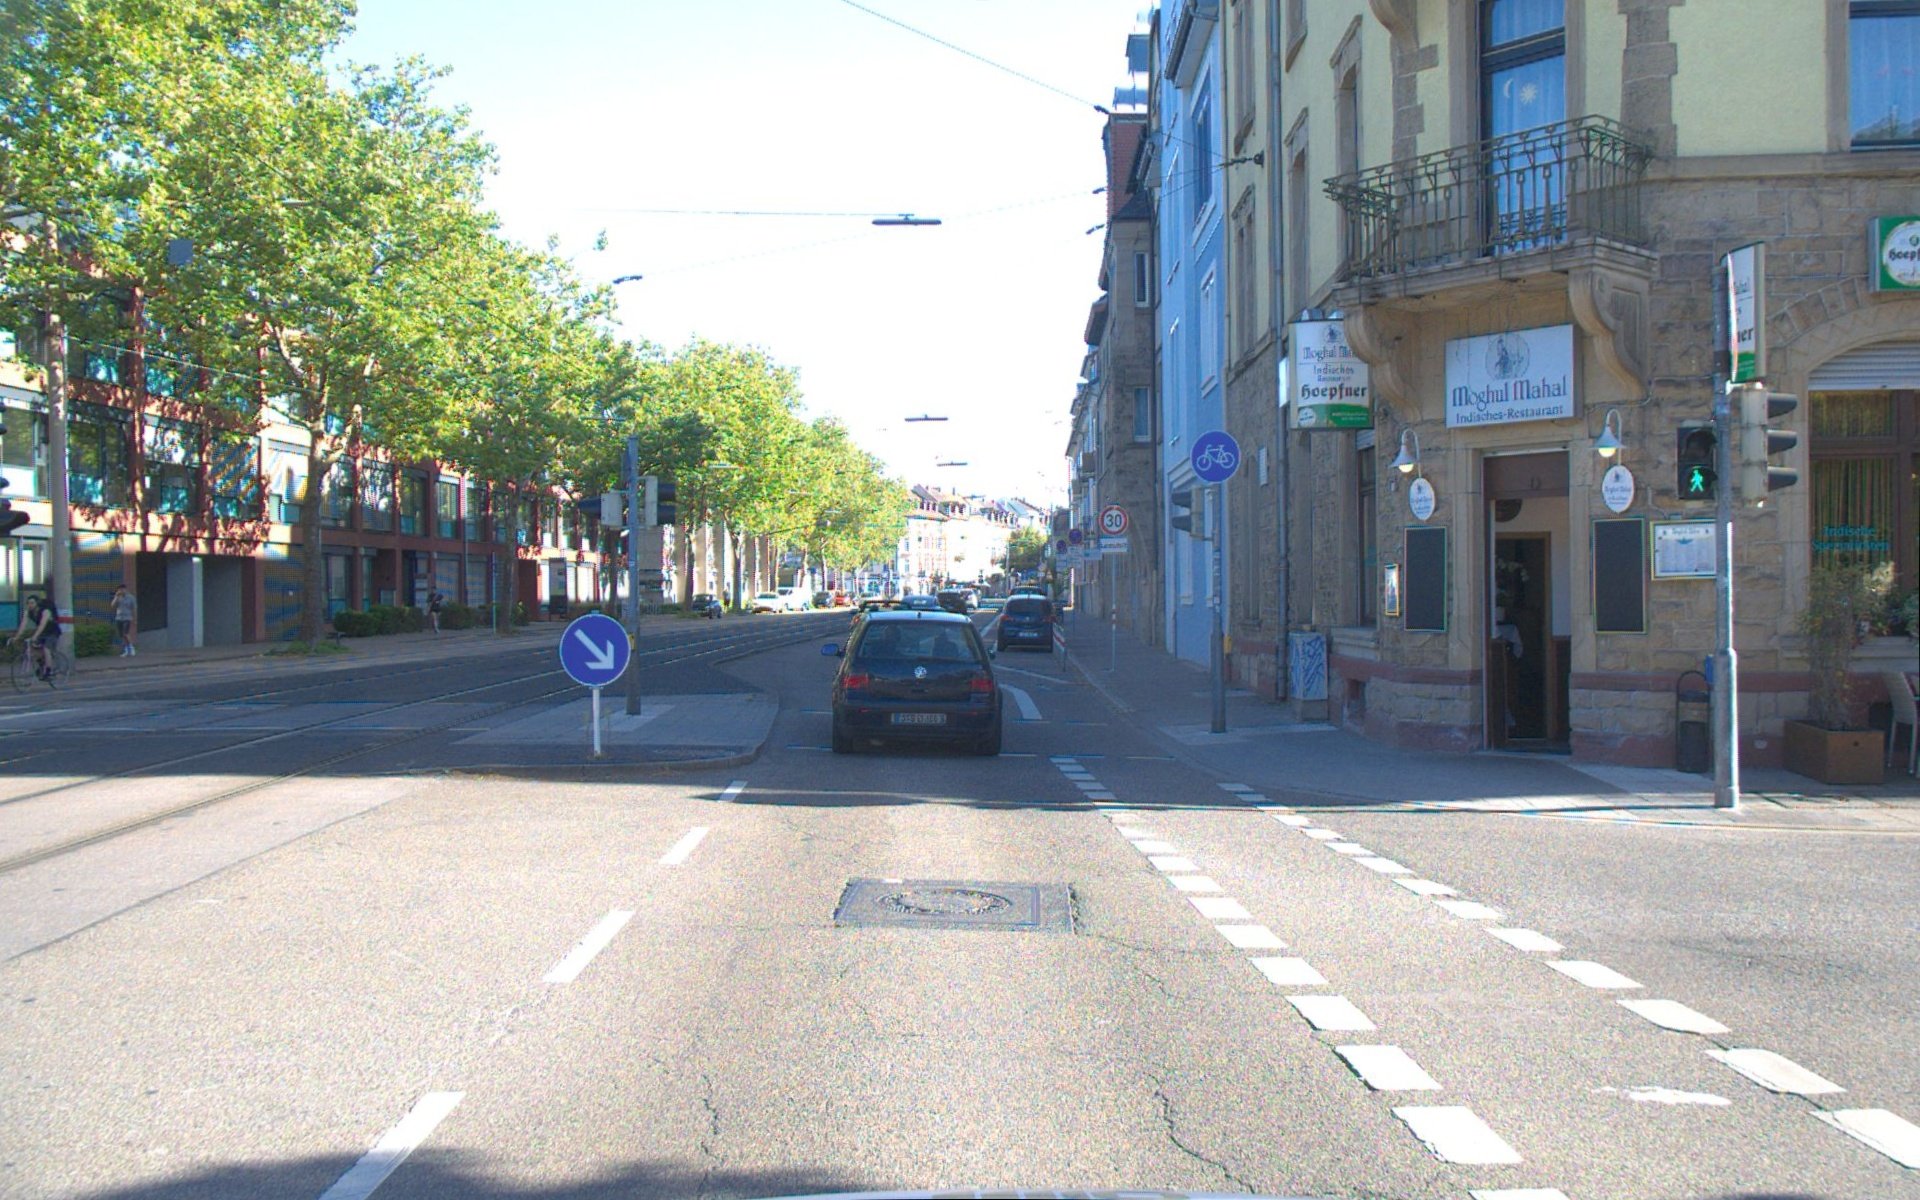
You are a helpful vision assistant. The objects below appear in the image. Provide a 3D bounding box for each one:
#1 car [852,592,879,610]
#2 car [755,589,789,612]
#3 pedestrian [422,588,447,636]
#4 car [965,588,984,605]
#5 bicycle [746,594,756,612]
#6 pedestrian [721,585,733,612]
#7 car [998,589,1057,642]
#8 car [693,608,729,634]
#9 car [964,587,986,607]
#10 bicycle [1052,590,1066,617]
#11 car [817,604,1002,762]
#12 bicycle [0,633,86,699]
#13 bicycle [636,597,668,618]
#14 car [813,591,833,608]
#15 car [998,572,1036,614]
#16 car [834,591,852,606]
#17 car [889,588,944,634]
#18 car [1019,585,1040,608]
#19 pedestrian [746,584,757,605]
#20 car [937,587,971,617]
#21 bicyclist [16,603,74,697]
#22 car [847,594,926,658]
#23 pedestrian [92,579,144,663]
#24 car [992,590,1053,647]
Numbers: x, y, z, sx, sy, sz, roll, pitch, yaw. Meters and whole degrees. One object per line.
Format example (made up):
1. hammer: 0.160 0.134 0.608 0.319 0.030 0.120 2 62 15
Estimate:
1. car: -8.884 0.077 155.608 1.715 1.544 4.074 -3 0 7
2. car: -14.148 0.023 124.595 1.970 1.600 4.694 1 1 1
3. pedestrian: -19.723 0.445 62.076 0.612 1.748 0.901 1 1 1
4. car: 1.296 -0.296 147.080 1.602 1.498 3.730 -1 0 2
5. bicycle: -15.048 0.218 119.032 0.569 1.230 1.653 1 1 -4
6. pedestrian: -16.456 -0.093 116.683 0.771 1.902 0.669 1 1 -13
7. car: 2.138 0.453 51.360 1.716 1.527 4.198 1 0 3
8. car: -15.094 1.272 100.247 1.476 1.479 3.464 -1 -2 3
9. car: 1.198 -0.255 131.324 1.602 1.498 3.730 -1 0 2
10. bicycle: 4.460 0.166 74.336 0.504 1.159 2.259 -2 1 2
11. car: -0.445 0.780 17.471 1.712 1.399 4.001 -1 1 1
12. bicycle: -16.418 1.165 29.660 0.632 1.061 1.923 1 1 -6
13. bicycle: -19.912 0.471 106.941 1.966 1.301 0.664 1 1 2
14. car: -13.154 -0.063 159.153 1.537 1.560 3.573 -1 -1 2
15. car: 2.671 -0.324 76.705 1.716 1.888 4.817 0 0 2
16. car: -12.409 -0.140 175.727 1.537 1.560 3.573 -1 -1 2
17. car: -1.551 0.378 60.567 1.712 1.564 3.893 -1 1 3
18. car: 5.903 -0.336 140.134 1.722 1.870 3.549 1 1 2
19. pedestrian: -18.382 -0.461 145.874 0.780 1.852 0.670 1 1 2
20. car: -0.284 0.088 86.041 1.602 1.498 3.730 -1 0 2
21. bicyclist: -16.415 0.883 29.671 0.632 1.639 0.780 1 1 -6
22. car: -1.907 0.655 43.702 1.712 1.564 3.893 -1 1 3
23. pedestrian: -20.781 0.508 40.811 0.893 2.049 0.780 1 1 -7
24. car: 1.718 0.470 45.828 1.621 1.508 4.001 0 0 2
